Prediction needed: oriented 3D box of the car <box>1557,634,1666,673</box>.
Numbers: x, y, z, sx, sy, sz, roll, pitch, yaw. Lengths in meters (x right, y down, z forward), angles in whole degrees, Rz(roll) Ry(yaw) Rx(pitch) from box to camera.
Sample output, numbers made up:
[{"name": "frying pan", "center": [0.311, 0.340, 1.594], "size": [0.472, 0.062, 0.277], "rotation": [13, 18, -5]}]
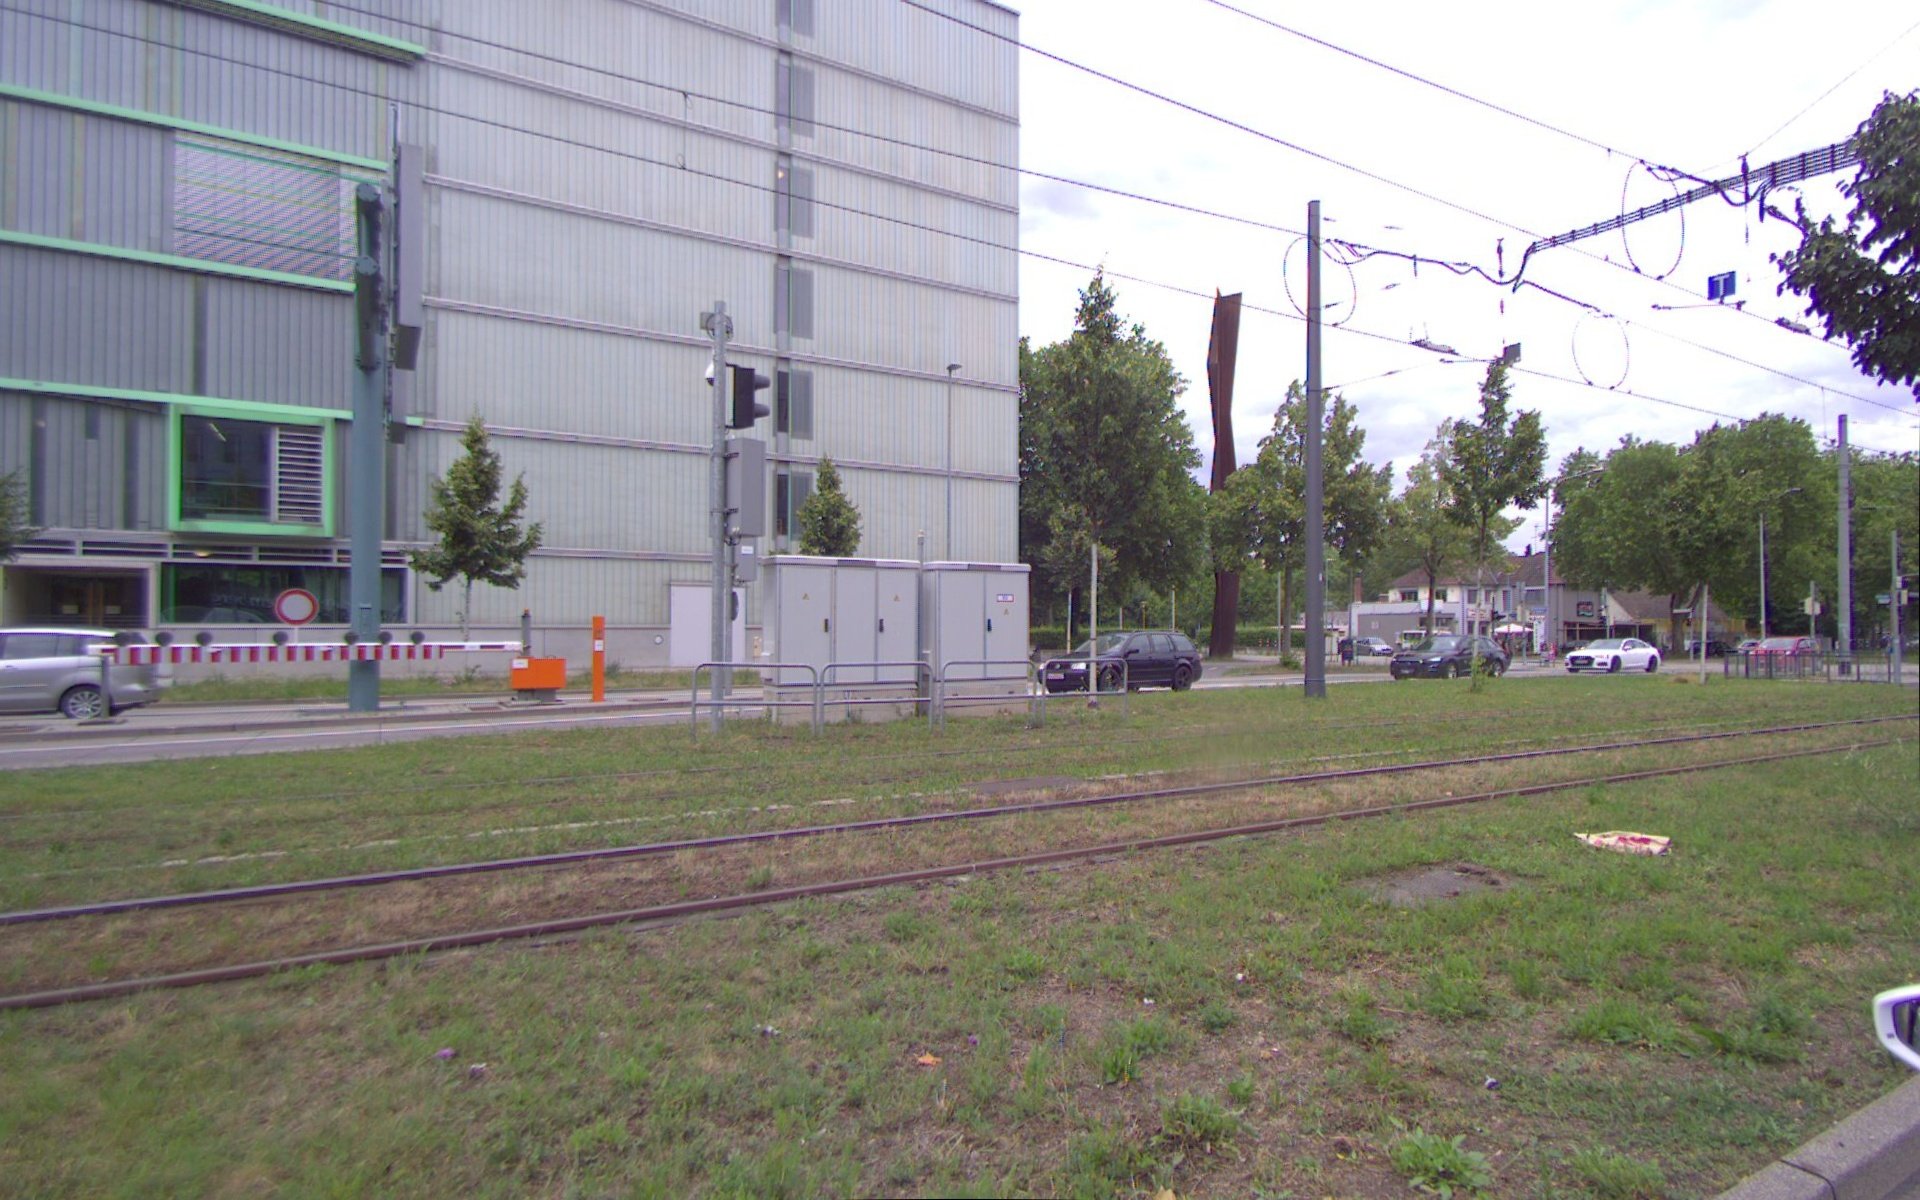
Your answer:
[{"name": "car", "center": [27.982, 2.259, 43.108], "size": [5.016, 1.609, 1.803], "rotation": [1, -1, -30]}]

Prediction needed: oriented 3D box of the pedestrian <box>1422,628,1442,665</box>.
[{"name": "pedestrian", "center": [26.514, 2.593, 56.413], "size": [0.887, 2.040, 0.954], "rotation": [0, -1, 18]}]

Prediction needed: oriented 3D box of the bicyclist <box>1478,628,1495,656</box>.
[{"name": "bicyclist", "center": [32.640, 2.584, 62.247], "size": [0.838, 1.744, 0.719], "rotation": [0, -1, 34]}]

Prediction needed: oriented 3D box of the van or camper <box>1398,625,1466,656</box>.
[{"name": "van or camper", "center": [32.409, 2.768, 69.179], "size": [2.416, 2.040, 5.283], "rotation": [0, -1, 2]}]

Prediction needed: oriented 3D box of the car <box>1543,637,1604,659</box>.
[{"name": "car", "center": [54.965, 4.312, 90.087], "size": [2.078, 1.840, 4.268], "rotation": [1, -1, -25]}]

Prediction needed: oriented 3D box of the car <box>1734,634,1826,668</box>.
[{"name": "car", "center": [35.940, 2.192, 43.994], "size": [4.220, 1.395, 1.802], "rotation": [1, -1, -31]}]

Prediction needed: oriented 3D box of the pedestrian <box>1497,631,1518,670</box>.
[{"name": "pedestrian", "center": [26.887, 2.461, 49.325], "size": [0.769, 1.856, 0.771], "rotation": [-1, -1, 43]}]

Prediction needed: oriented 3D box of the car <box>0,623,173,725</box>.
[{"name": "car", "center": [-16.370, 1.225, 16.988], "size": [4.623, 1.665, 1.711], "rotation": [1, -2, -33]}]

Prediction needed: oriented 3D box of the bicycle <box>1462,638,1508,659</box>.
[{"name": "bicycle", "center": [32.558, 2.993, 62.298], "size": [2.474, 1.218, 0.738], "rotation": [-1, -1, 35]}]

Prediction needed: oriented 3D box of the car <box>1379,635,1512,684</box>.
[{"name": "car", "center": [14.935, 1.782, 30.853], "size": [4.011, 1.395, 1.792], "rotation": [1, -1, -31]}]

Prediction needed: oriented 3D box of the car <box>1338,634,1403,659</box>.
[{"name": "car", "center": [31.171, 3.500, 76.384], "size": [2.078, 1.840, 4.268], "rotation": [1, -1, -25]}]

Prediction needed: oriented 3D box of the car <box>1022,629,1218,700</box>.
[{"name": "car", "center": [3.682, 1.401, 22.566], "size": [4.705, 1.445, 1.650], "rotation": [1, -3, -39]}]
